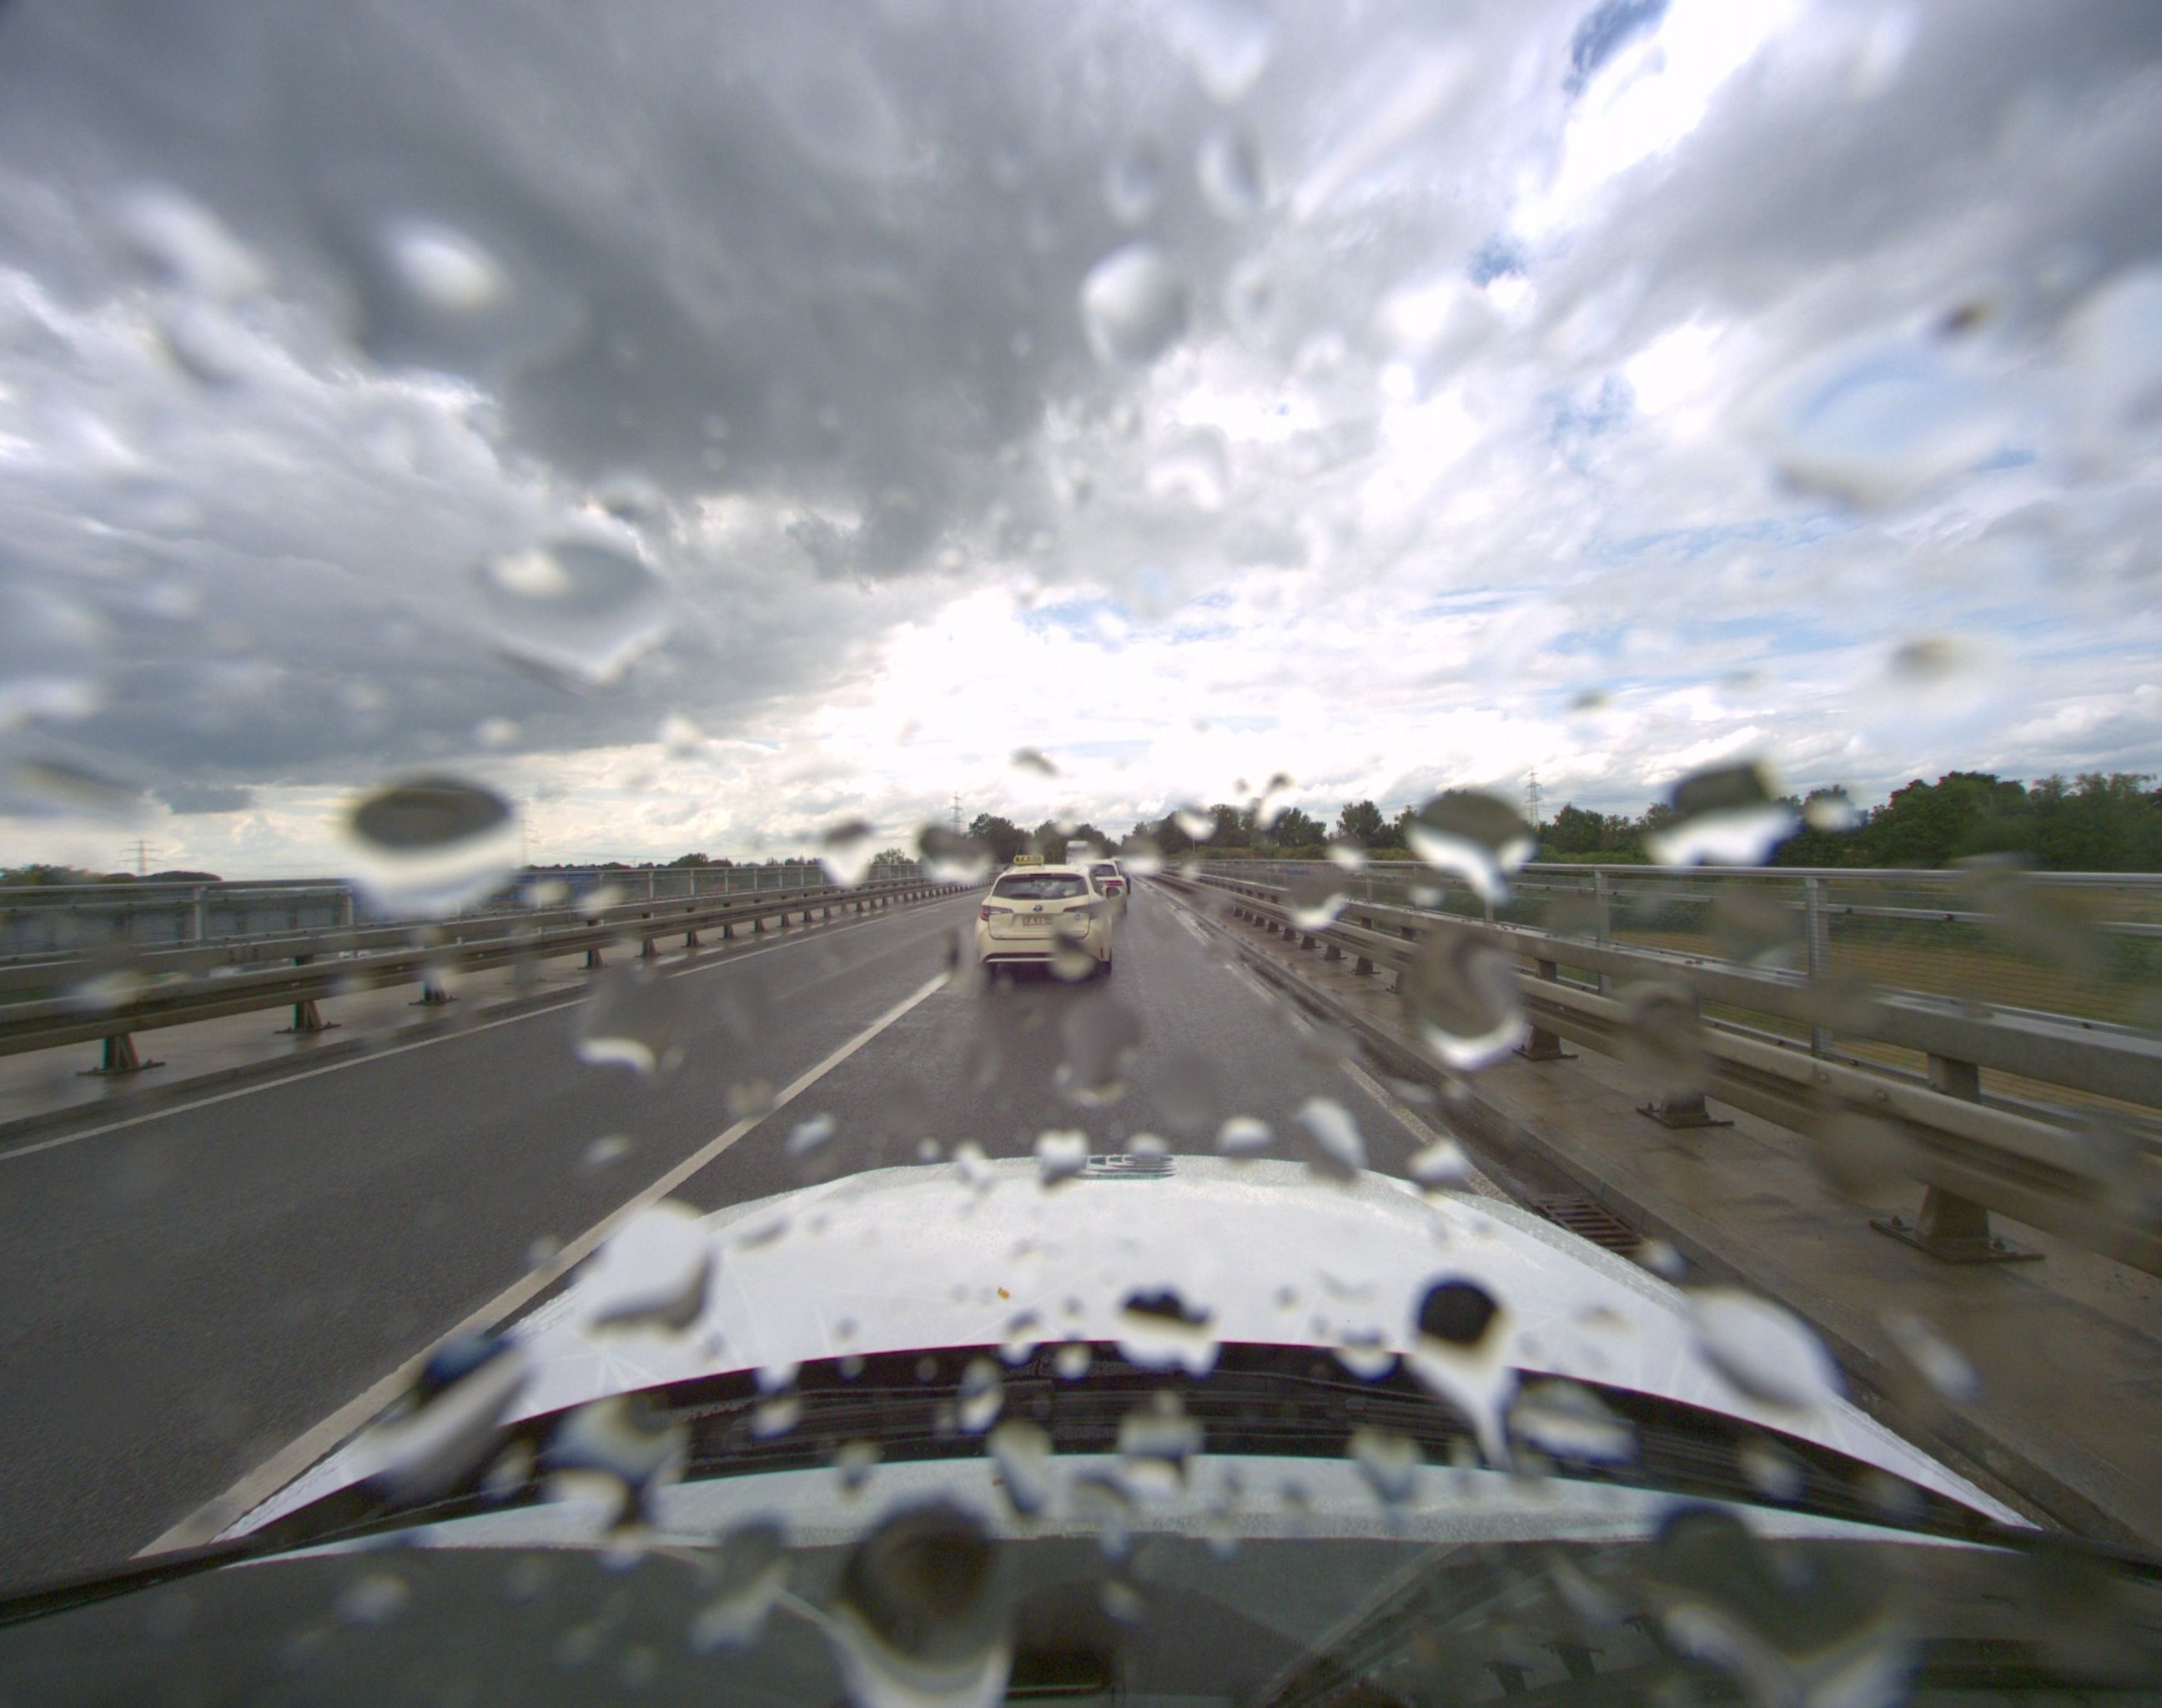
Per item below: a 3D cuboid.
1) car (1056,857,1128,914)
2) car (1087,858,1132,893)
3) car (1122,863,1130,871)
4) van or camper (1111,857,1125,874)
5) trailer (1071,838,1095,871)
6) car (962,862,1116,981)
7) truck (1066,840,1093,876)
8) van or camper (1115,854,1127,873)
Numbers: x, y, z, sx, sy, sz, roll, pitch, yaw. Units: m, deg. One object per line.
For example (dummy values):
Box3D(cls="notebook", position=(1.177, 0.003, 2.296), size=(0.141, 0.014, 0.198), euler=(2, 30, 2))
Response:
Box3D(cls="car", position=(0.363, 0.828, 23.011), size=(1.847, 1.443, 4.173), euler=(0, 0, 2))
Box3D(cls="car", position=(1.275, 0.924, 36.267), size=(1.847, 1.443, 4.173), euler=(0, 0, 2))
Box3D(cls="car", position=(11.584, 3.329, 209.966), size=(1.986, 2.014, 4.001), euler=(0, -1, 1))
Box3D(cls="van or camper", position=(6.175, 1.915, 136.414), size=(2.323, 2.864, 6.309), euler=(0, -1, 2))
Box3D(cls="trailer", position=(0.296, 0.071, 106.179), size=(2.672, 4.075, 8.490), euler=(-1, 0, 2))
Box3D(cls="car", position=(-0.424, 0.831, 11.865), size=(1.847, 1.394, 4.173), euler=(0, 0, 2))
Box3D(cls="truck", position=(-0.105, 0.469, 96.894), size=(2.672, 4.017, 10.060), euler=(-1, 0, 2))
Box3D(cls="van or camper", position=(7.775, 1.818, 159.070), size=(2.323, 3.563, 6.309), euler=(0, -1, 2))
